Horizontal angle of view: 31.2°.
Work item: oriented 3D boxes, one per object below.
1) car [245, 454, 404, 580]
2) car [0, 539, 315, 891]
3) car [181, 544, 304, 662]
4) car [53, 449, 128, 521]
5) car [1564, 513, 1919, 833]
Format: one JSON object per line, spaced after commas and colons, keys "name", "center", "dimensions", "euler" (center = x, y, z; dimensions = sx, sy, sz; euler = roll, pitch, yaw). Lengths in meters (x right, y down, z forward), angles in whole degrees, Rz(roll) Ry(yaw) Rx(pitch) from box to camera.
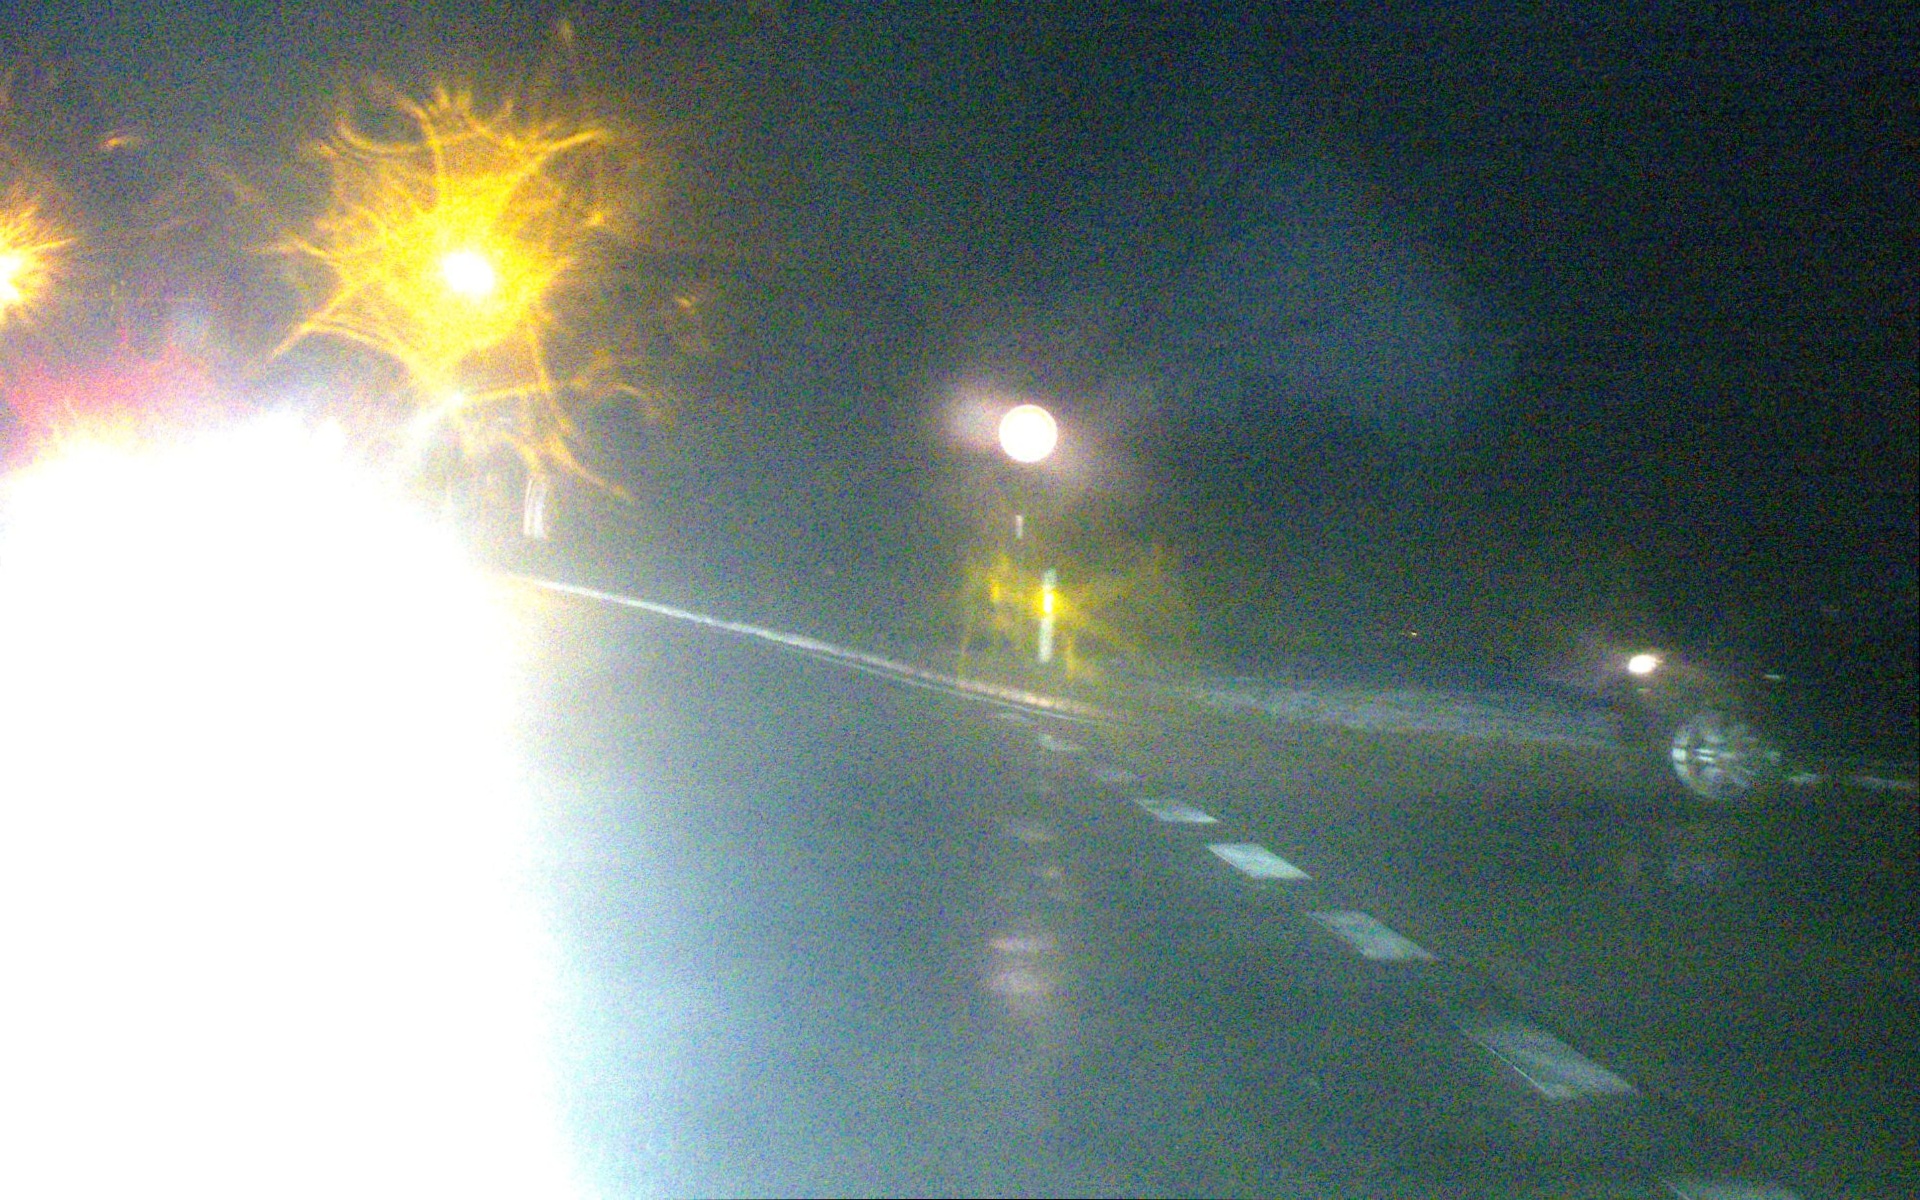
{"name": "car", "center": [-14.121, -1.883, 76.050], "dimensions": [2.538, 2.489, 5.717], "euler": [0, 4, -20]}
{"name": "car", "center": [-4.460, 0.482, 17.238], "dimensions": [1.955, 1.517, 4.400], "euler": [2, 0, -5]}
{"name": "car", "center": [-10.550, 0.015, 50.671], "dimensions": [1.695, 1.594, 3.802], "euler": [1, 2, -11]}
{"name": "car", "center": [-26.390, -3.459, 104.438], "dimensions": [1.993, 2.007, 4.001], "euler": [2, 0, -12]}
{"name": "car", "center": [5.942, 0.425, 18.927], "dimensions": [4.770, 1.685, 1.956], "euler": [2, 0, 40]}
